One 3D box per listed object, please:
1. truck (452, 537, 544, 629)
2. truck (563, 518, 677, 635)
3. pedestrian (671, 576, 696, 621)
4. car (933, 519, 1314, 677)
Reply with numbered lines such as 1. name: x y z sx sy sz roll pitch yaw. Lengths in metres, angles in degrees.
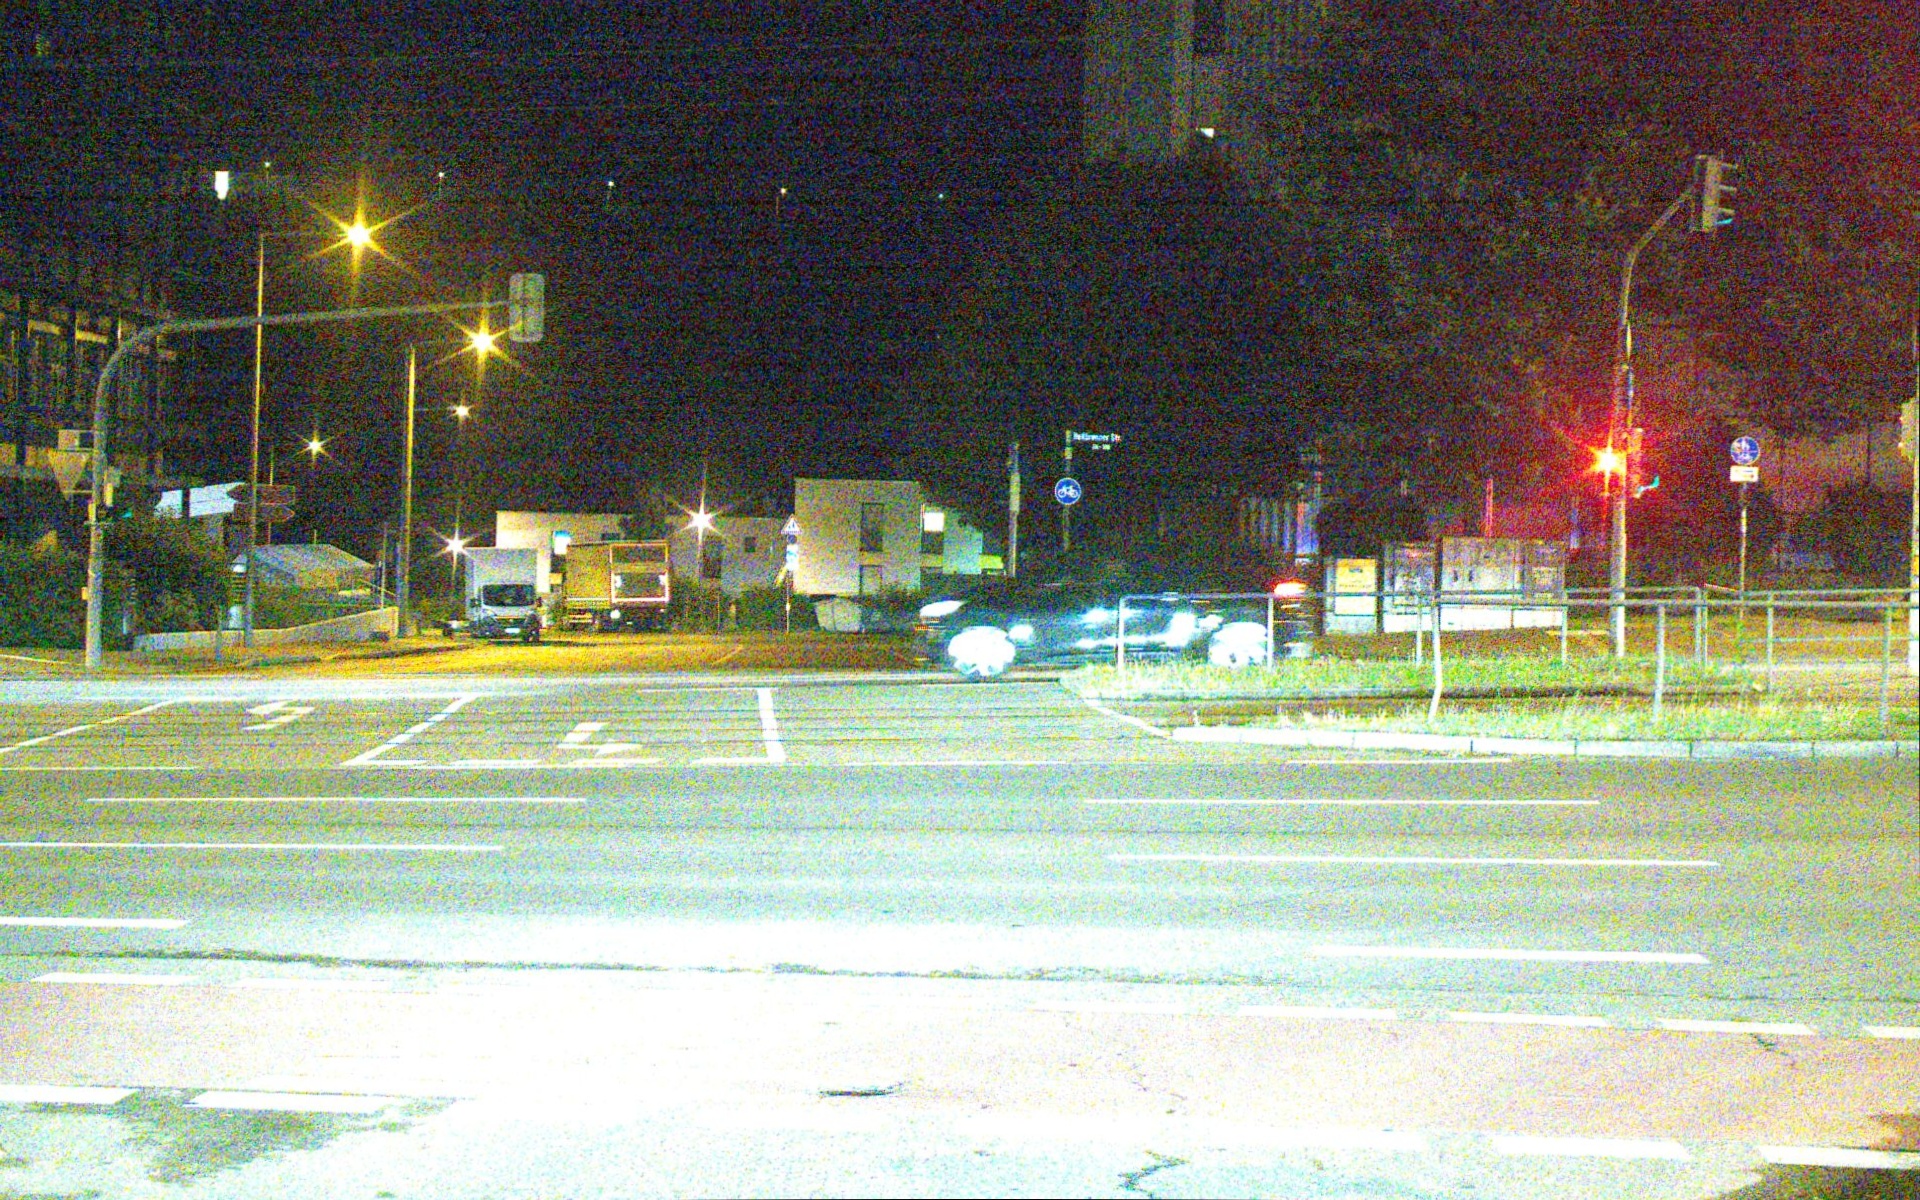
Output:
1. truck: -16.118 -0.588 119.698 2.417 3.078 6.439 1 0 -14
2. truck: -14.782 -0.996 148.850 3.359 4.826 7.908 1 0 -17
3. pedestrian: -11.861 -0.075 147.540 0.849 1.905 1.007 1 0 -18
4. car: 1.780 -0.029 37.278 3.987 1.579 1.803 -1 1 4
